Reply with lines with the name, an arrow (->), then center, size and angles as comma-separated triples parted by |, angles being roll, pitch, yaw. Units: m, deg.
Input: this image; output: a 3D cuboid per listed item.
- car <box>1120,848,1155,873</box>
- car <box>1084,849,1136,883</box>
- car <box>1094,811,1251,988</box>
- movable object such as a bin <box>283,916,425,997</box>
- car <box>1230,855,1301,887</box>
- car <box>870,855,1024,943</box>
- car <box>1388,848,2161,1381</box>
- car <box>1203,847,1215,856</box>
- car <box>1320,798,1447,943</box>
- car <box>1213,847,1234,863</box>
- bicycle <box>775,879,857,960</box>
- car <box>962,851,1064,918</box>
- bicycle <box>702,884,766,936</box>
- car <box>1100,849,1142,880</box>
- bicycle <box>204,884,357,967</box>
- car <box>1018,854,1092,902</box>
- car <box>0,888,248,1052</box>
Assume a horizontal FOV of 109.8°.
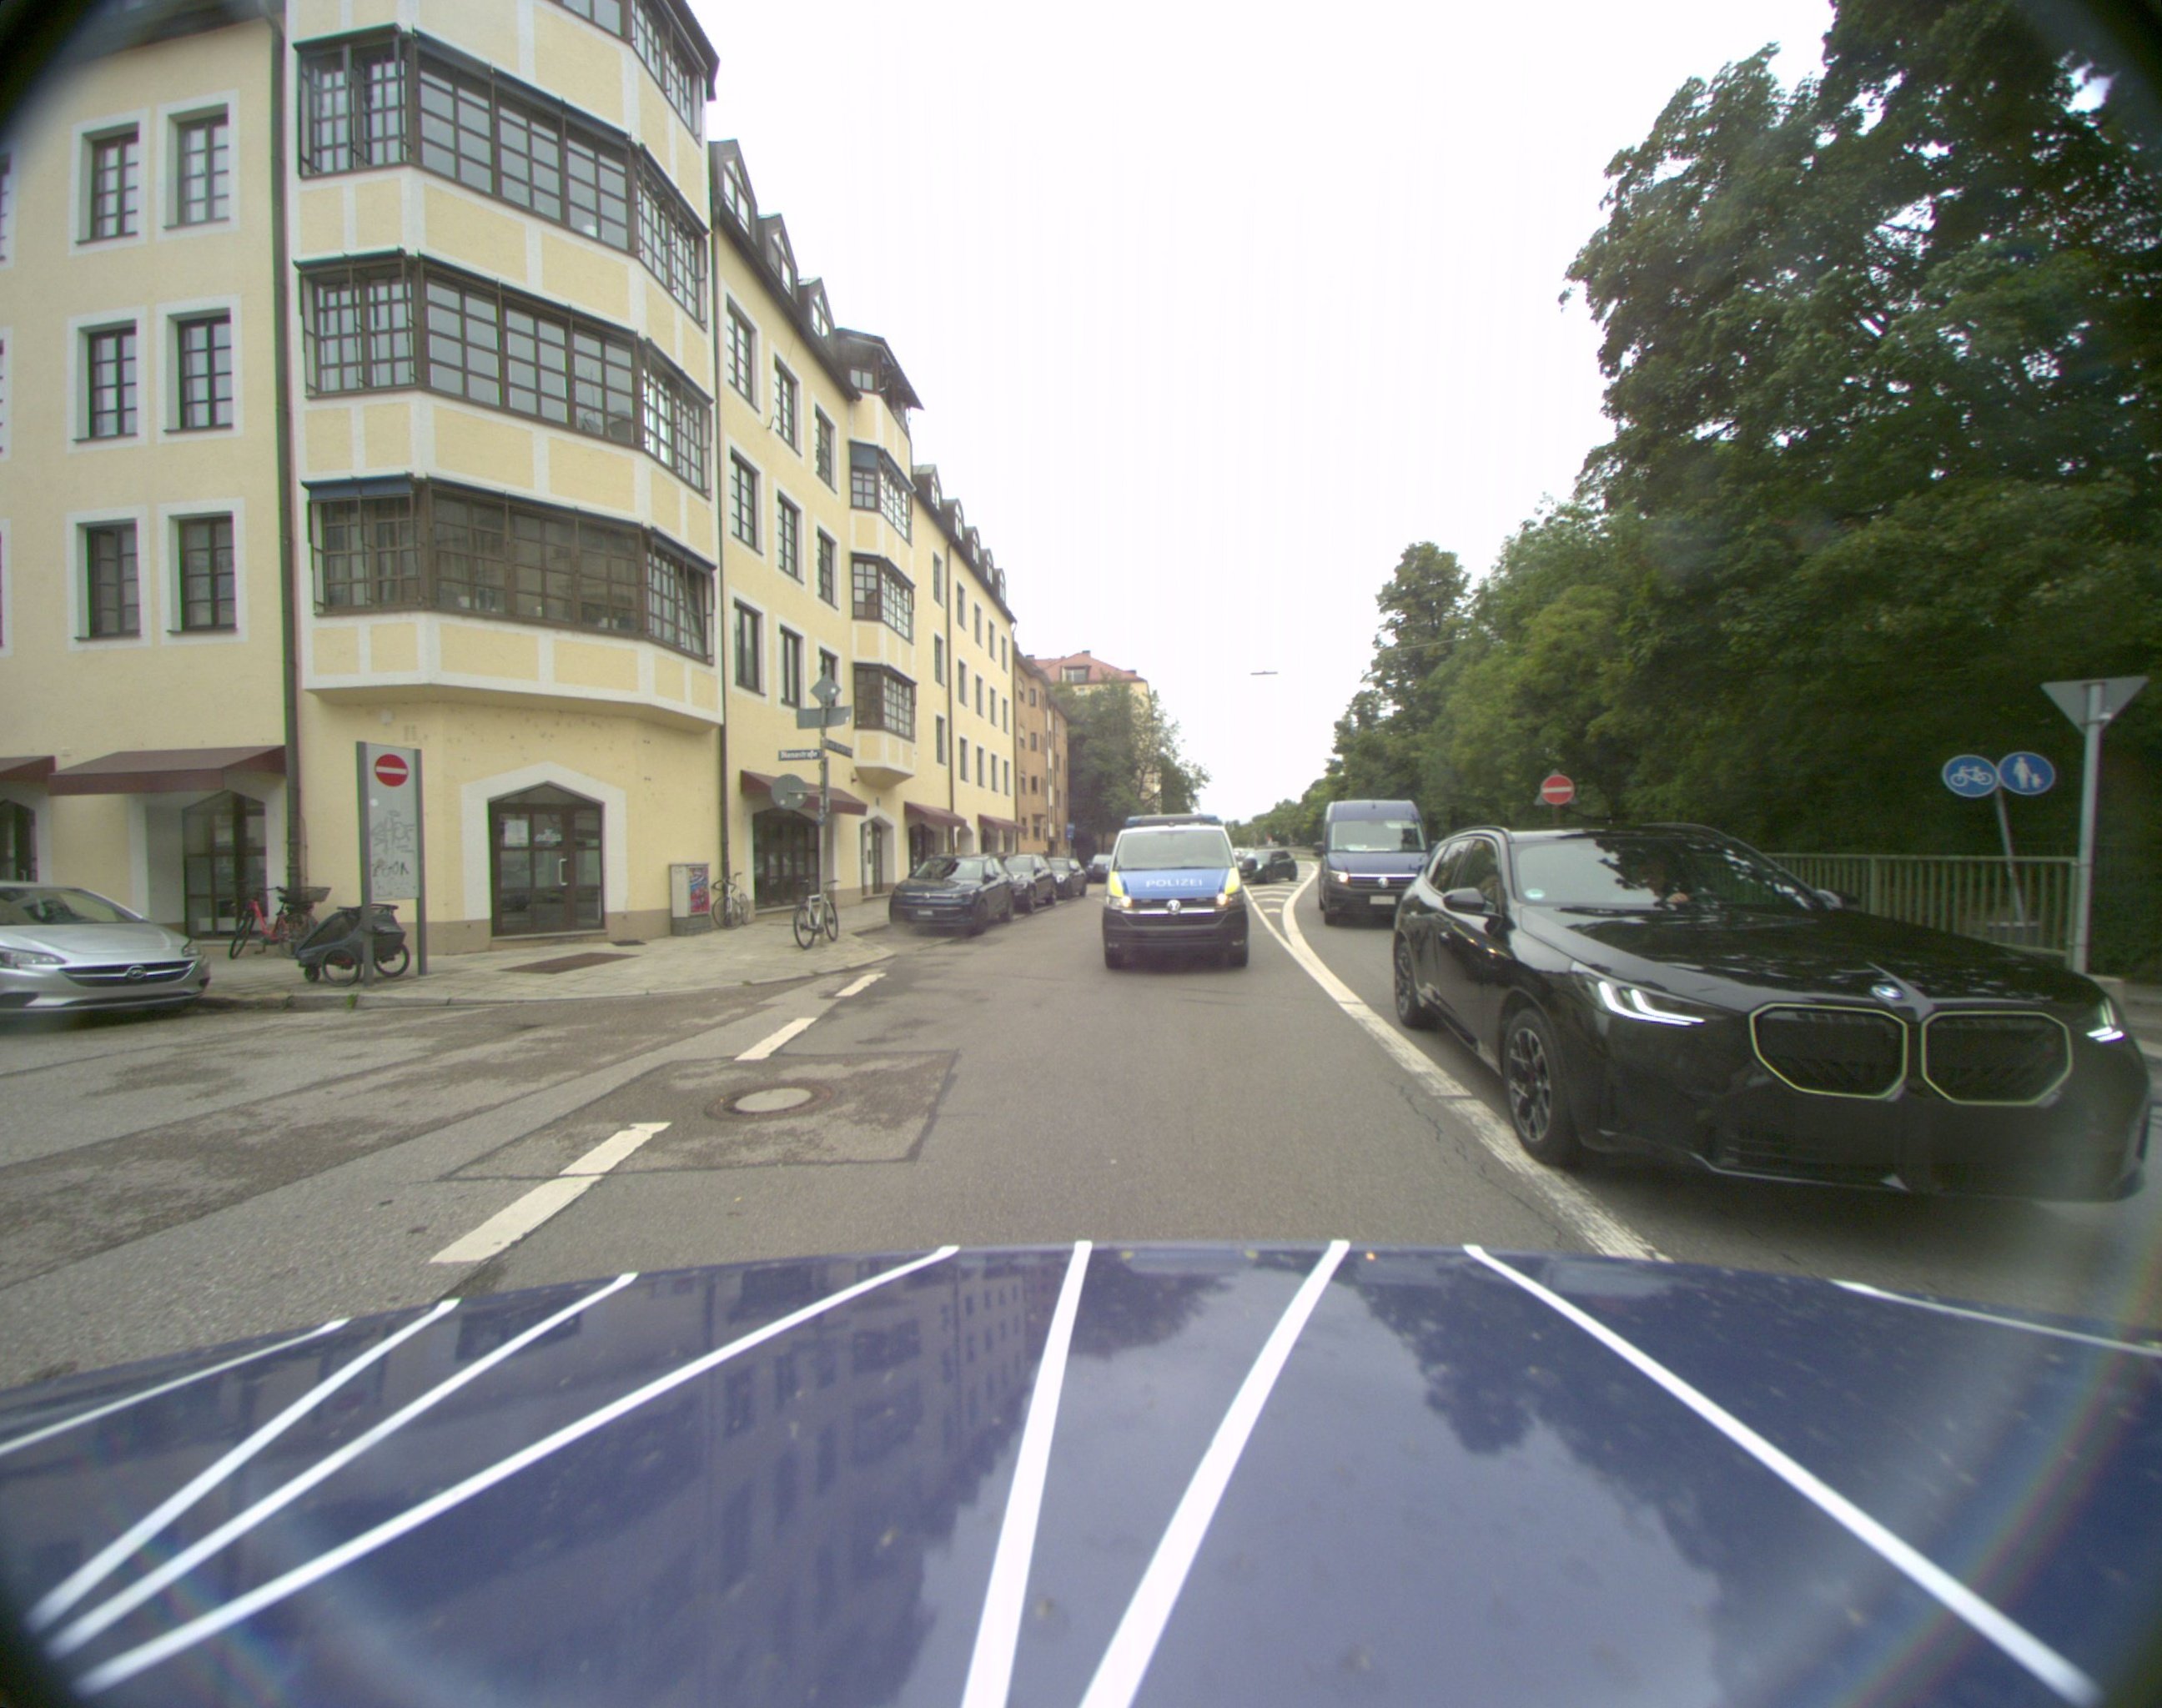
car -> 4.081, 0.409, 54.367 | 1.881, 1.642, 4.303 | -2, 0, 11
car -> 1.614, 0.548, 39.698 | 1.881, 1.642, 5.621 | 1, 1, 11
car -> 1.500, 0.532, 11.840 | 1.825, 2.086, 5.636 | -1, 0, 9
movable object such as a bin -> -8.913, 1.237, 9.347 | 1.125, 0.895, 0.684 | 0, 1, 7
car -> 7.968, 0.686, 32.623 | 1.492, 1.207, 3.618 | -1, 1, 40
car -> -2.750, 0.875, 16.829 | 2.110, 1.613, 4.498 | -1, 1, 7
car -> 3.240, 0.779, 4.479 | 1.919, 1.557, 4.297 | 0, 1, 12
car -> 22.352, -0.458, 132.420 | 1.837, 1.390, 4.001 | 0, 1, 6
car -> 6.192, 0.228, 16.214 | 2.003, 2.477, 6.239 | -1, 1, 17
car -> 14.830, 0.098, 79.069 | 1.996, 1.587, 4.004 | 0, 1, 13
bicycle -> -4.453, 1.061, 12.939 | 0.430, 1.152, 2.054 | 0, 1, 8
car -> -1.850, 0.785, 22.003 | 1.816, 1.580, 4.166 | 4, 2, 10
bicycle -> -6.973, 1.106, 15.351 | 0.262, 0.897, 1.696 | 4, 2, 9
car -> 2.429, 0.588, 44.892 | 1.882, 1.642, 4.620 | -2, 0, 10
bicycle -> -11.946, 1.059, 11.352 | 1.904, 1.180, 0.515 | -1, 1, 7
car -> -0.838, 0.784, 27.033 | 1.762, 1.514, 3.935 | 1, 1, 11
car -> -11.216, 1.078, 7.855 | 3.740, 1.431, 1.754 | 0, -2, 10
